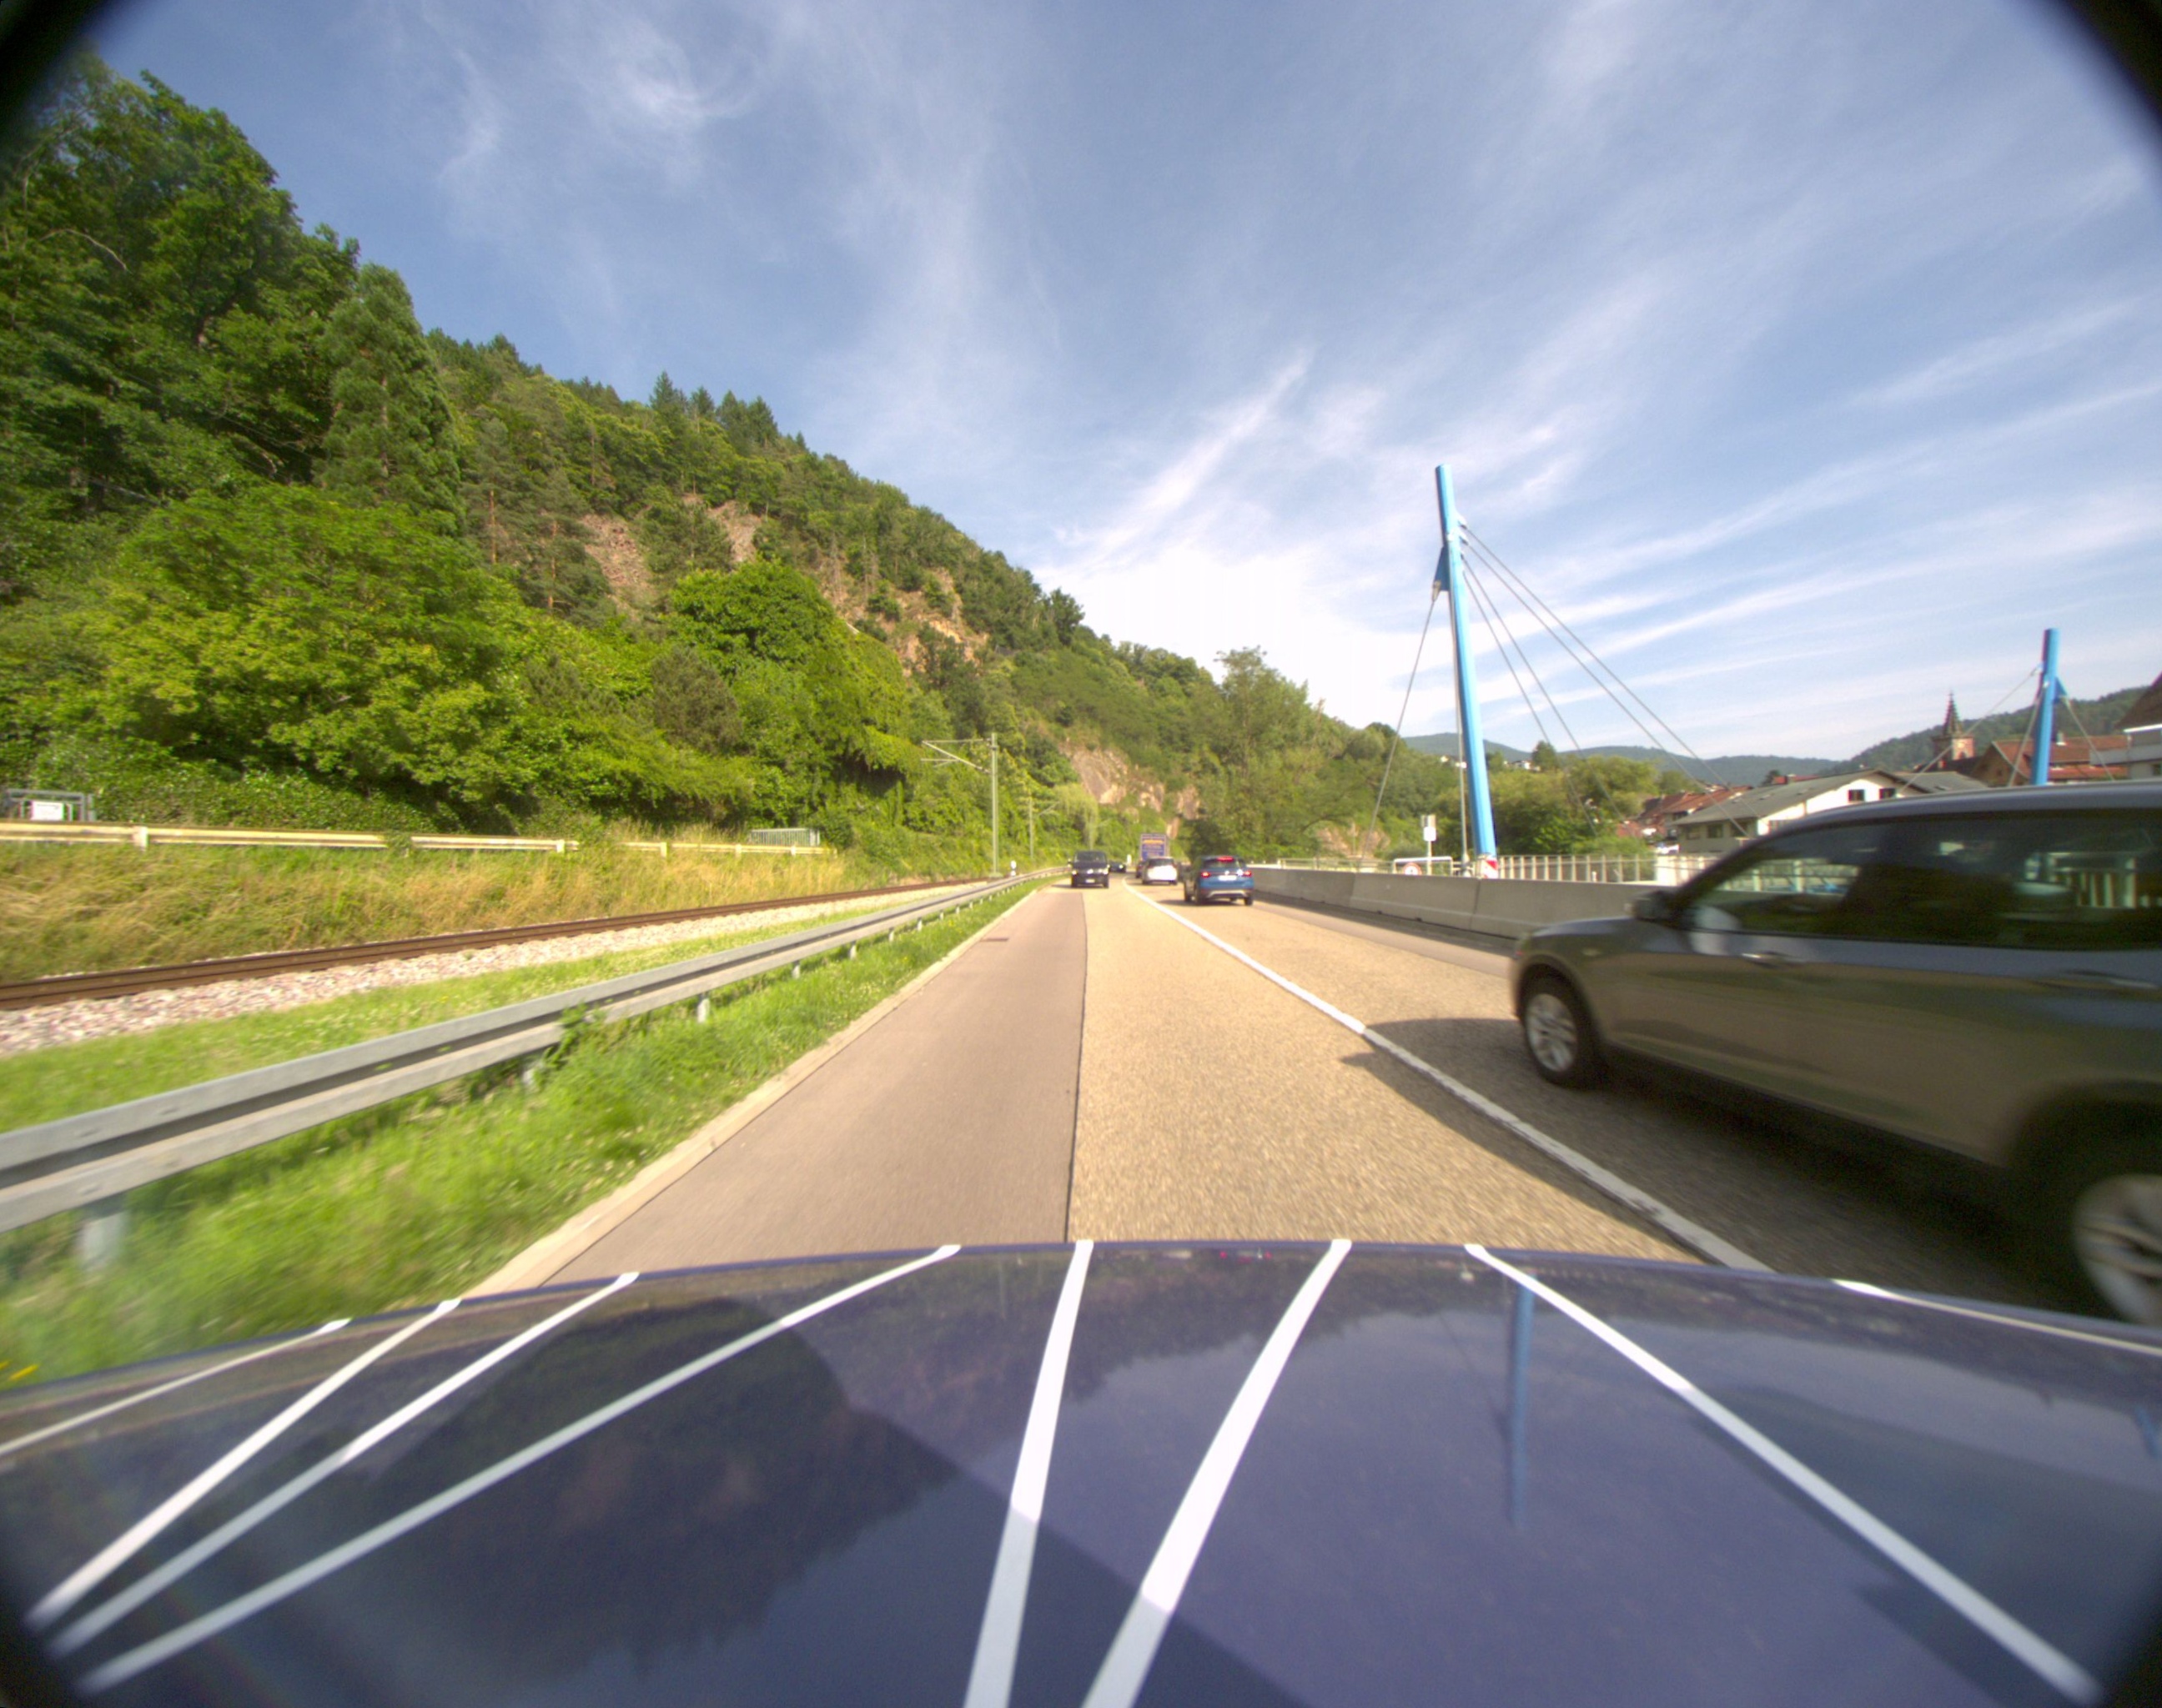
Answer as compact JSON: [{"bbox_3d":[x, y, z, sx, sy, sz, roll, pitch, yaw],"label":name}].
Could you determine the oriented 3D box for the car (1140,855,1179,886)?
[{"bbox_3d":[4.421,0.919,43.416,1.777,1.660,4.647,0,0,1],"label":"car"}]

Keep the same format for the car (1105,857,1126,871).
[{"bbox_3d":[3.661,1.039,80.744,1.997,1.486,4.222,1,0,5],"label":"car"}]

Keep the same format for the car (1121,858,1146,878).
[{"bbox_3d":[4.134,1.086,60.276,1.841,1.487,4.936,-1,0,2],"label":"car"}]

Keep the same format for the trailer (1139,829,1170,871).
[{"bbox_3d":[7.656,-0.400,79.977,2.863,3.989,13.675,1,0,5],"label":"trailer"}]

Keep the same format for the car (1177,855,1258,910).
[{"bbox_3d":[4.303,0.853,24.544,1.803,1.547,4.331,-2,0,0],"label":"car"}]

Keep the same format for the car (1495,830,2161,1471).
[{"bbox_3d":[3.763,0.738,2.845,1.998,1.619,4.507,-2,0,1],"label":"car"}]

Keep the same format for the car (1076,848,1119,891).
[{"bbox_3d":[0.851,0.776,37.322,1.998,2.001,4.002,0,-2,2],"label":"car"}]
